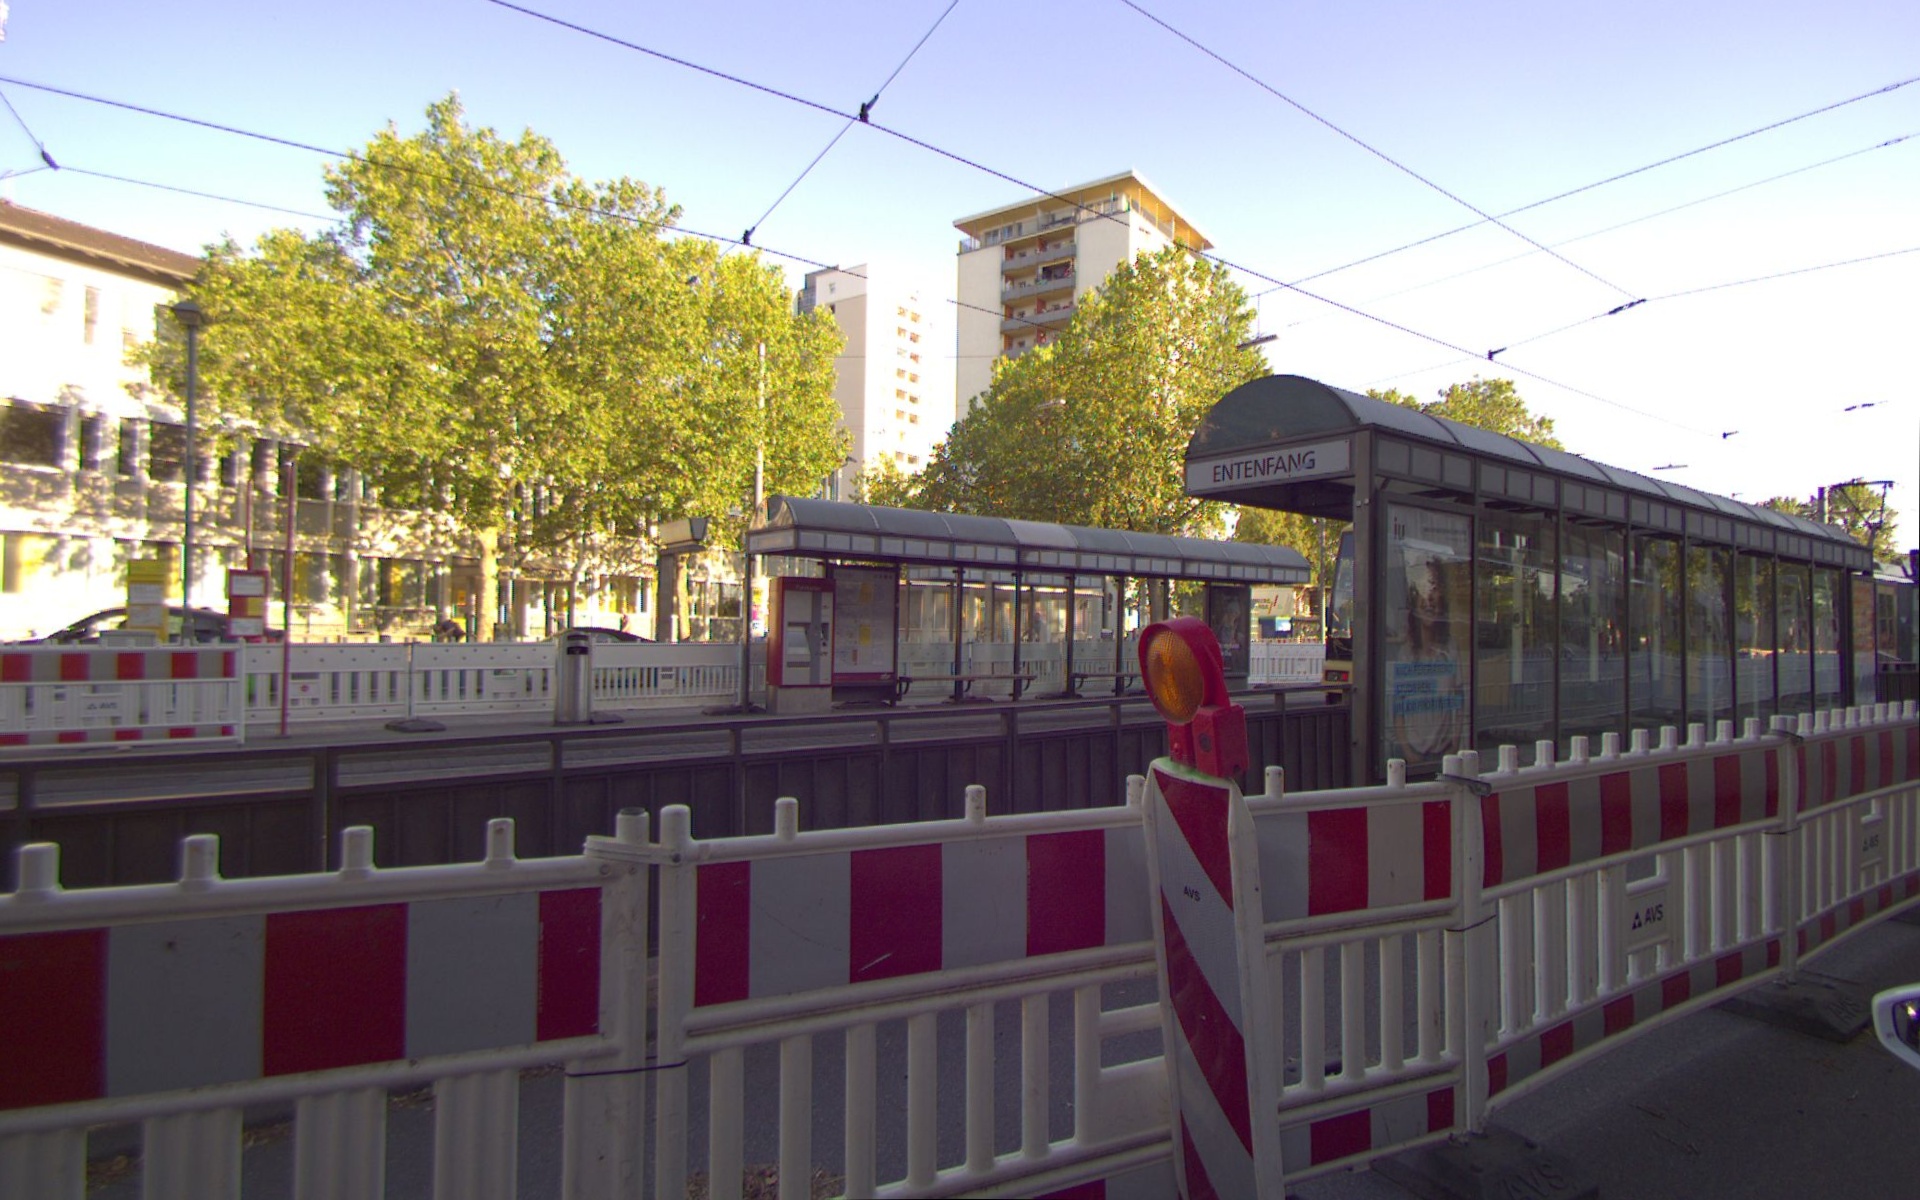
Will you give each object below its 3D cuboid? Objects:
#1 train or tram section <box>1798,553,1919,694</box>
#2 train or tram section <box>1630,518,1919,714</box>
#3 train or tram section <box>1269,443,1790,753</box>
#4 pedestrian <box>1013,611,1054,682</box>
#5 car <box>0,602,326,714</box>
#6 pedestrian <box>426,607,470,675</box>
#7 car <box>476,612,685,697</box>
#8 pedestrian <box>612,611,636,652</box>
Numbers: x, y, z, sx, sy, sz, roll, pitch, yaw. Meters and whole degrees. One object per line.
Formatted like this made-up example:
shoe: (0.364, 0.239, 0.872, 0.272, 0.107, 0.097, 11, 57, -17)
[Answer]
train or tram section: (28.292, 0.771, 29.847, 11.474, 3.579, 2.667, 2, -2, -37)
train or tram section: (19.139, 0.477, 23.079, 11.476, 3.605, 2.667, 2, -2, -37)
train or tram section: (9.725, 0.157, 16.086, 11.657, 3.580, 2.668, 2, -2, -36)
pedestrian: (2.024, 1.267, 27.662, 0.829, 1.925, 0.740, 2, -2, -36)
car: (-13.388, 0.943, 16.938, 4.511, 1.683, 1.982, 2, -2, -34)
pedestrian: (-14.373, 1.149, 28.178, 0.921, 1.858, 0.691, 2, -2, -43)
car: (-8.286, 1.161, 22.026, 3.958, 1.683, 1.982, 2, -2, -34)
pedestrian: (-12.333, 1.152, 36.888, 0.577, 1.474, 0.584, 0, -2, 36)
